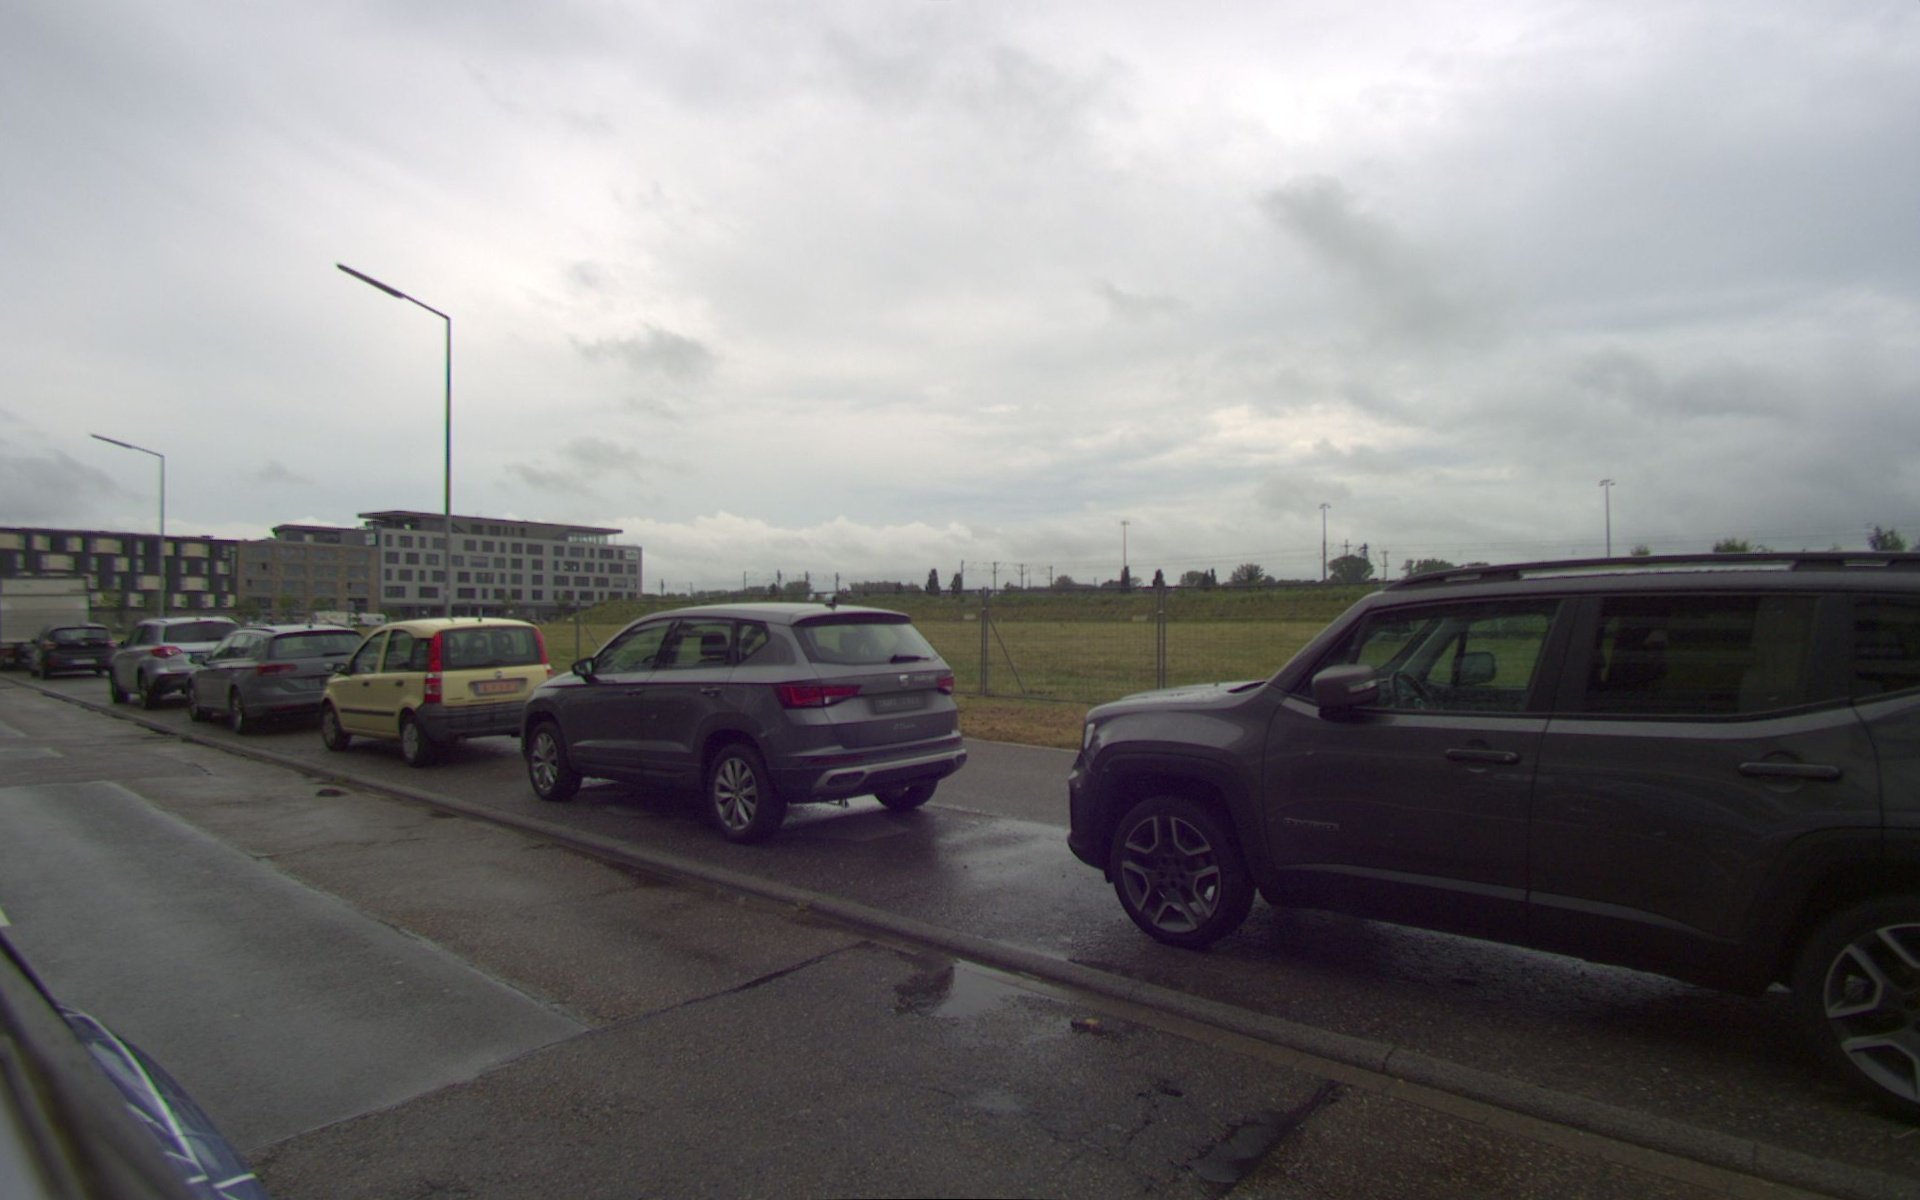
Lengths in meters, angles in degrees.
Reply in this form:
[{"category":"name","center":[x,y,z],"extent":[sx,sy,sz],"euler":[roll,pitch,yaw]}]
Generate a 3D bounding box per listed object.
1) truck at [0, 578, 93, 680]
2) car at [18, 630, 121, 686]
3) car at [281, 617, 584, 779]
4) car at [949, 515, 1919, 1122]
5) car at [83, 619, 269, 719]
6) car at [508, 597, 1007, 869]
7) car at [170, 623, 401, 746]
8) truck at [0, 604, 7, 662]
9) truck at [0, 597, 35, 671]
[{"category":"truck","center":[-31.055,0.953,33.635],"extent":[6.696,3.091,2.410],"euler":[-2,-1,41]},{"category":"car","center":[-25.173,1.594,28.555],"extent":[4.155,1.474,1.655],"euler":[-2,-2,41]},{"category":"car","center":[-6.349,1.006,11.983],"extent":[4.207,1.587,1.708],"euler":[-1,-1,40]},{"category":"car","center":[2.297,0.660,4.449],"extent":[4.882,1.706,1.733],"euler":[-2,-2,44]},{"category":"car","center":[-15.366,1.257,19.728],"extent":[4.985,1.619,1.834],"euler":[-2,1,40]},{"category":"car","center":[-1.784,0.850,8.012],"extent":[4.131,1.602,1.734],"euler":[-2,-2,41]},{"category":"car","center":[-10.457,1.165,15.540],"extent":[4.669,1.540,1.818],"euler":[-1,0,42]},{"category":"truck","center":[-46.130,1.558,47.011],"extent":[6.129,2.626,2.152],"euler":[-2,-2,41]},{"category":"truck","center":[-39.094,1.384,40.882],"extent":[6.737,2.787,2.018],"euler":[-2,-1,43]}]
